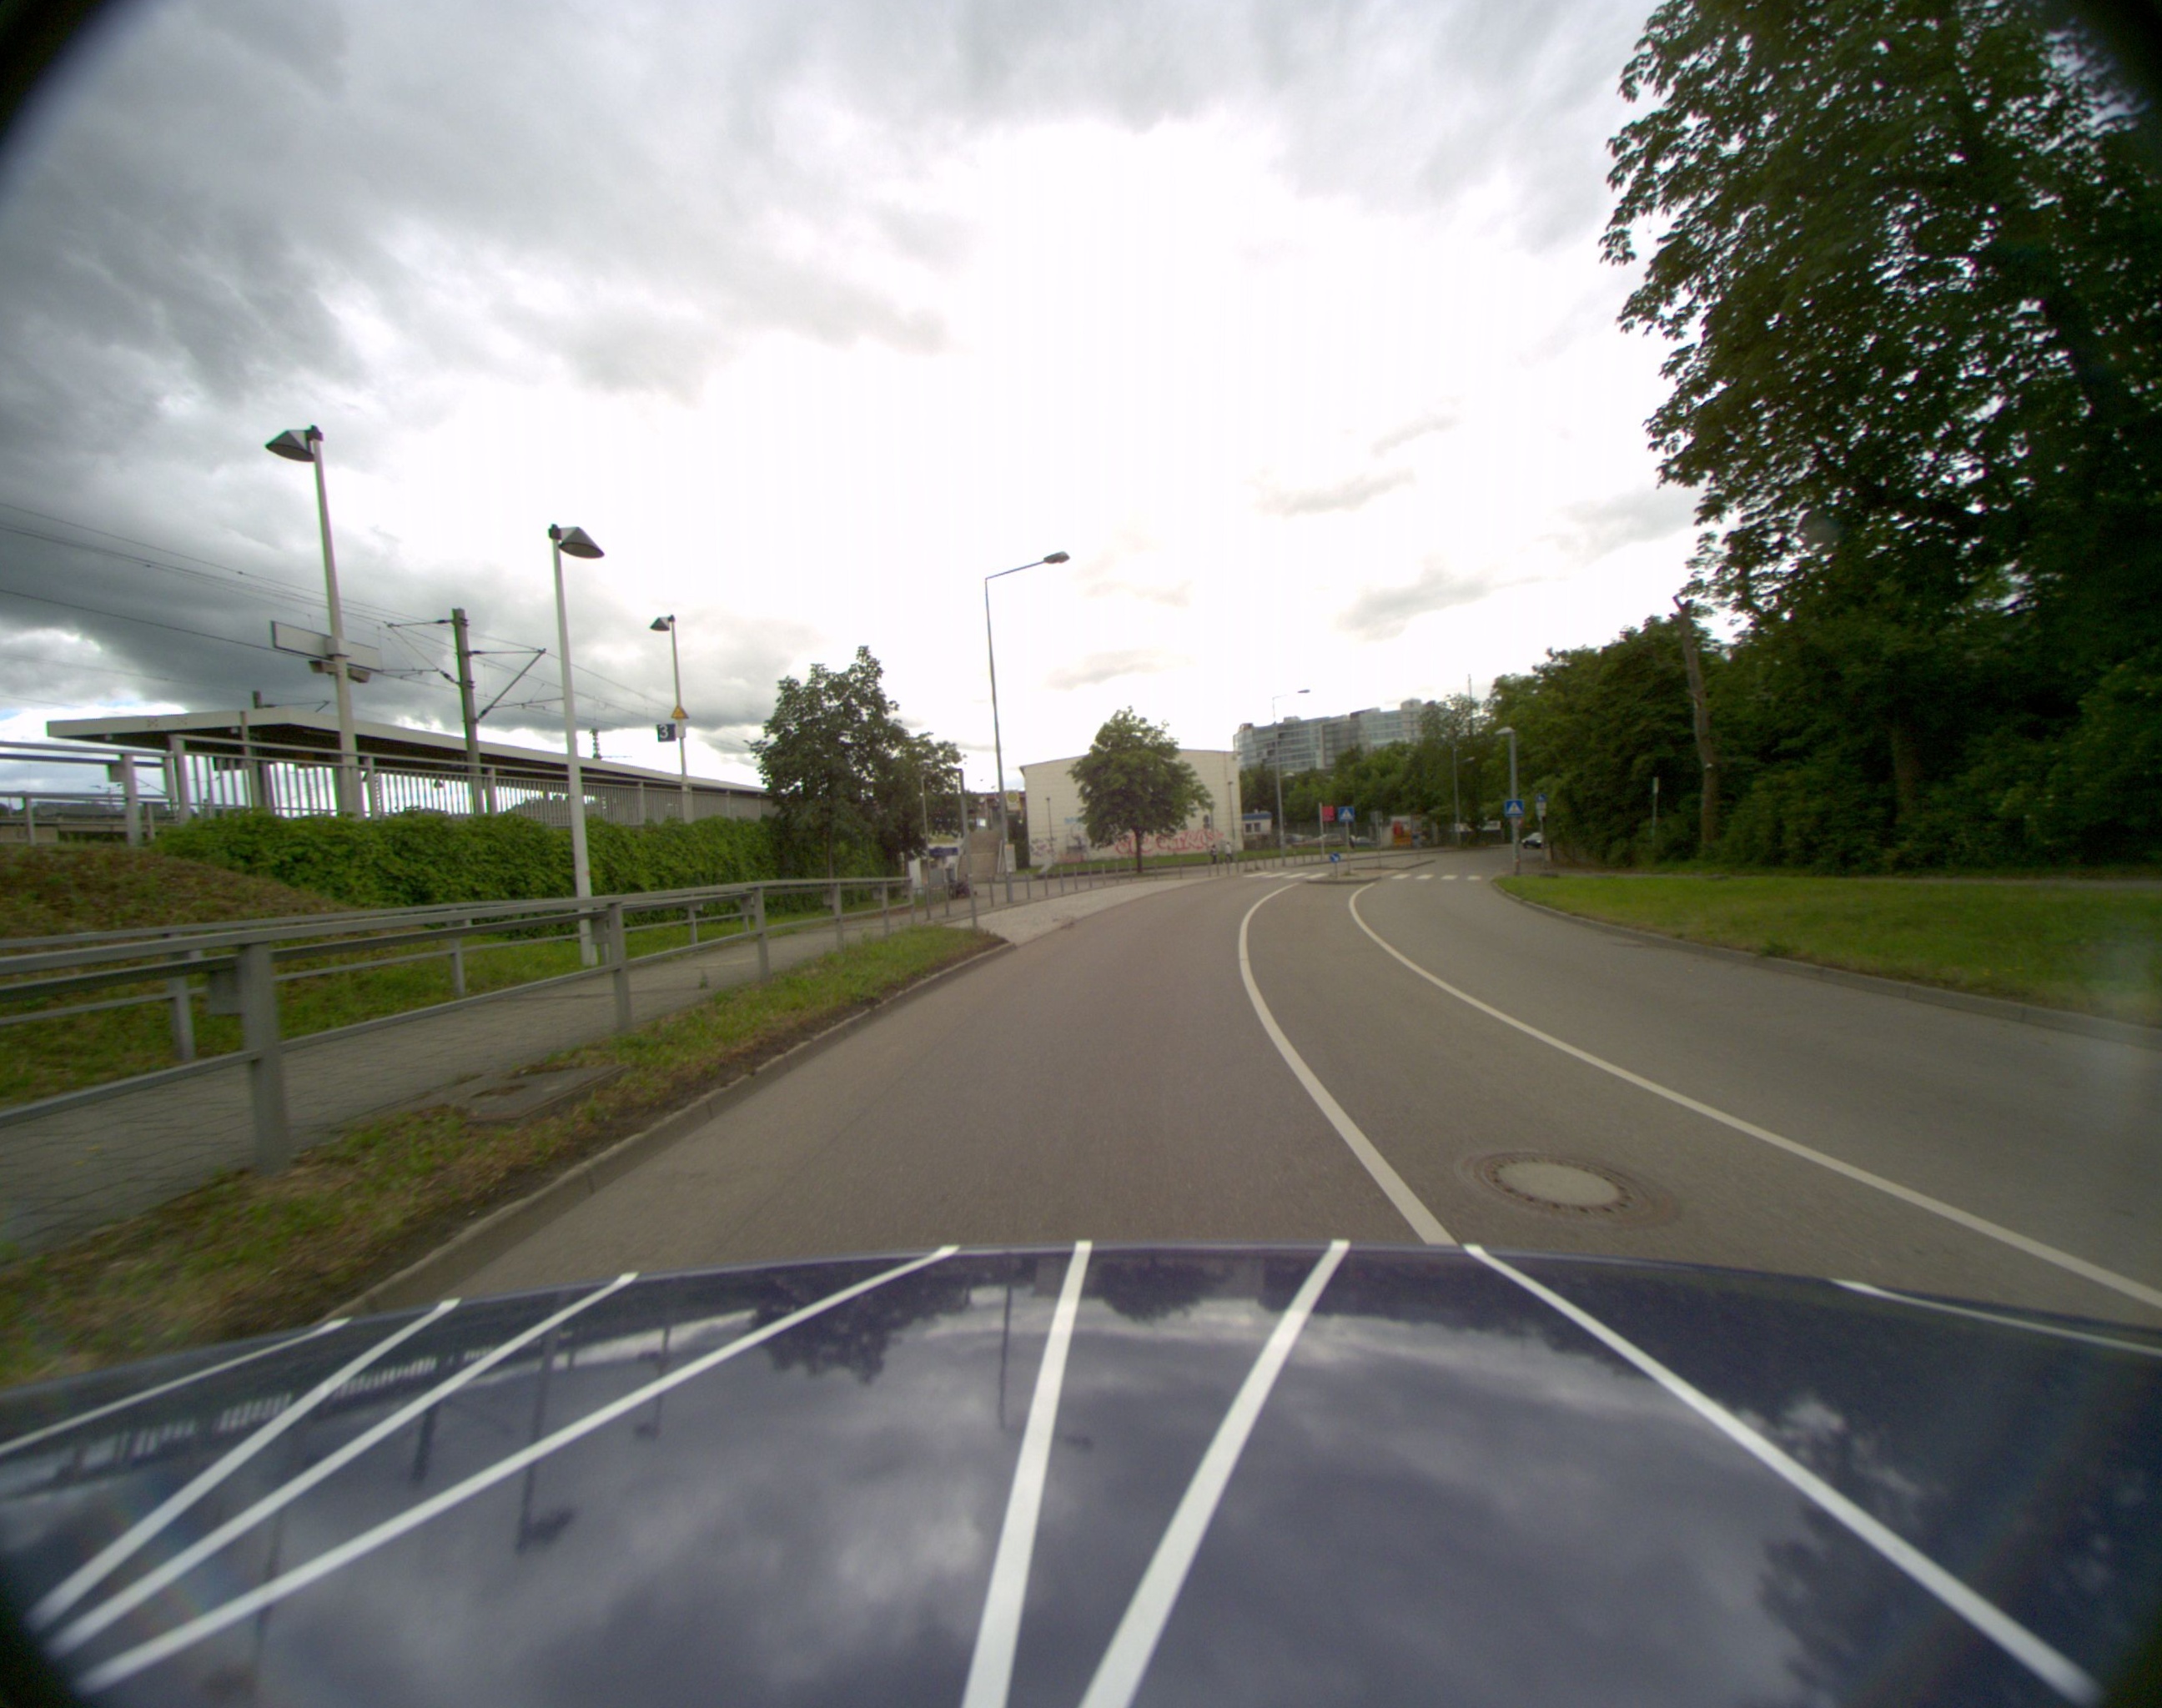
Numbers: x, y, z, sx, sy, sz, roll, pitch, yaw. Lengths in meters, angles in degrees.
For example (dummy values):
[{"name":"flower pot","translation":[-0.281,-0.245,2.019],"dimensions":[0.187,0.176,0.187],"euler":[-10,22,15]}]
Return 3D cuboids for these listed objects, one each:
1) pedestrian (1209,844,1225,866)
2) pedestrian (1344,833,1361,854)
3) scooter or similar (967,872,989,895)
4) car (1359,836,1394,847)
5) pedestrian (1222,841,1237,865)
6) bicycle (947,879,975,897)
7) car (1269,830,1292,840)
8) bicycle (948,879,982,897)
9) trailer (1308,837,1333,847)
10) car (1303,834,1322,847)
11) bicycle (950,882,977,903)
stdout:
[{"name":"pedestrian","translation":[10.146,0.035,56.607],"dimensions":[0.802,1.574,0.801],"euler":[-5,2,-16]},{"name":"pedestrian","translation":[22.349,-0.873,62.520],"dimensions":[0.941,1.675,0.849],"euler":[-5,3,-20]},{"name":"scooter or similar","translation":[-5.896,1.676,43.509],"dimensions":[1.188,1.199,0.469],"euler":[-5,0,38]},{"name":"car","translation":[33.350,-1.417,85.866],"dimensions":[3.369,1.245,1.470],"euler":[0,2,-6]},{"name":"pedestrian","translation":[10.922,-0.074,55.888],"dimensions":[0.749,1.693,0.815],"euler":[-5,2,-16]},{"name":"bicycle","translation":[-6.467,1.847,40.762],"dimensions":[1.576,0.849,0.464],"euler":[-6,-1,38]},{"name":"car","translation":[26.996,-2.526,102.941],"dimensions":[1.530,1.324,3.679],"euler":[-1,1,-11]},{"name":"bicycle","translation":[-6.452,1.895,42.141],"dimensions":[1.968,0.860,0.512],"euler":[-7,-2,35]},{"name":"trailer","translation":[26.900,-1.348,85.493],"dimensions":[1.848,1.131,2.638],"euler":[-3,1,-2]},{"name":"car","translation":[26.864,-1.595,88.234],"dimensions":[1.370,1.432,2.853],"euler":[-1,1,-1]},{"name":"bicycle","translation":[-6.146,2.014,39.576],"dimensions":[0.695,0.983,1.489],"euler":[-4,-1,-38]}]
